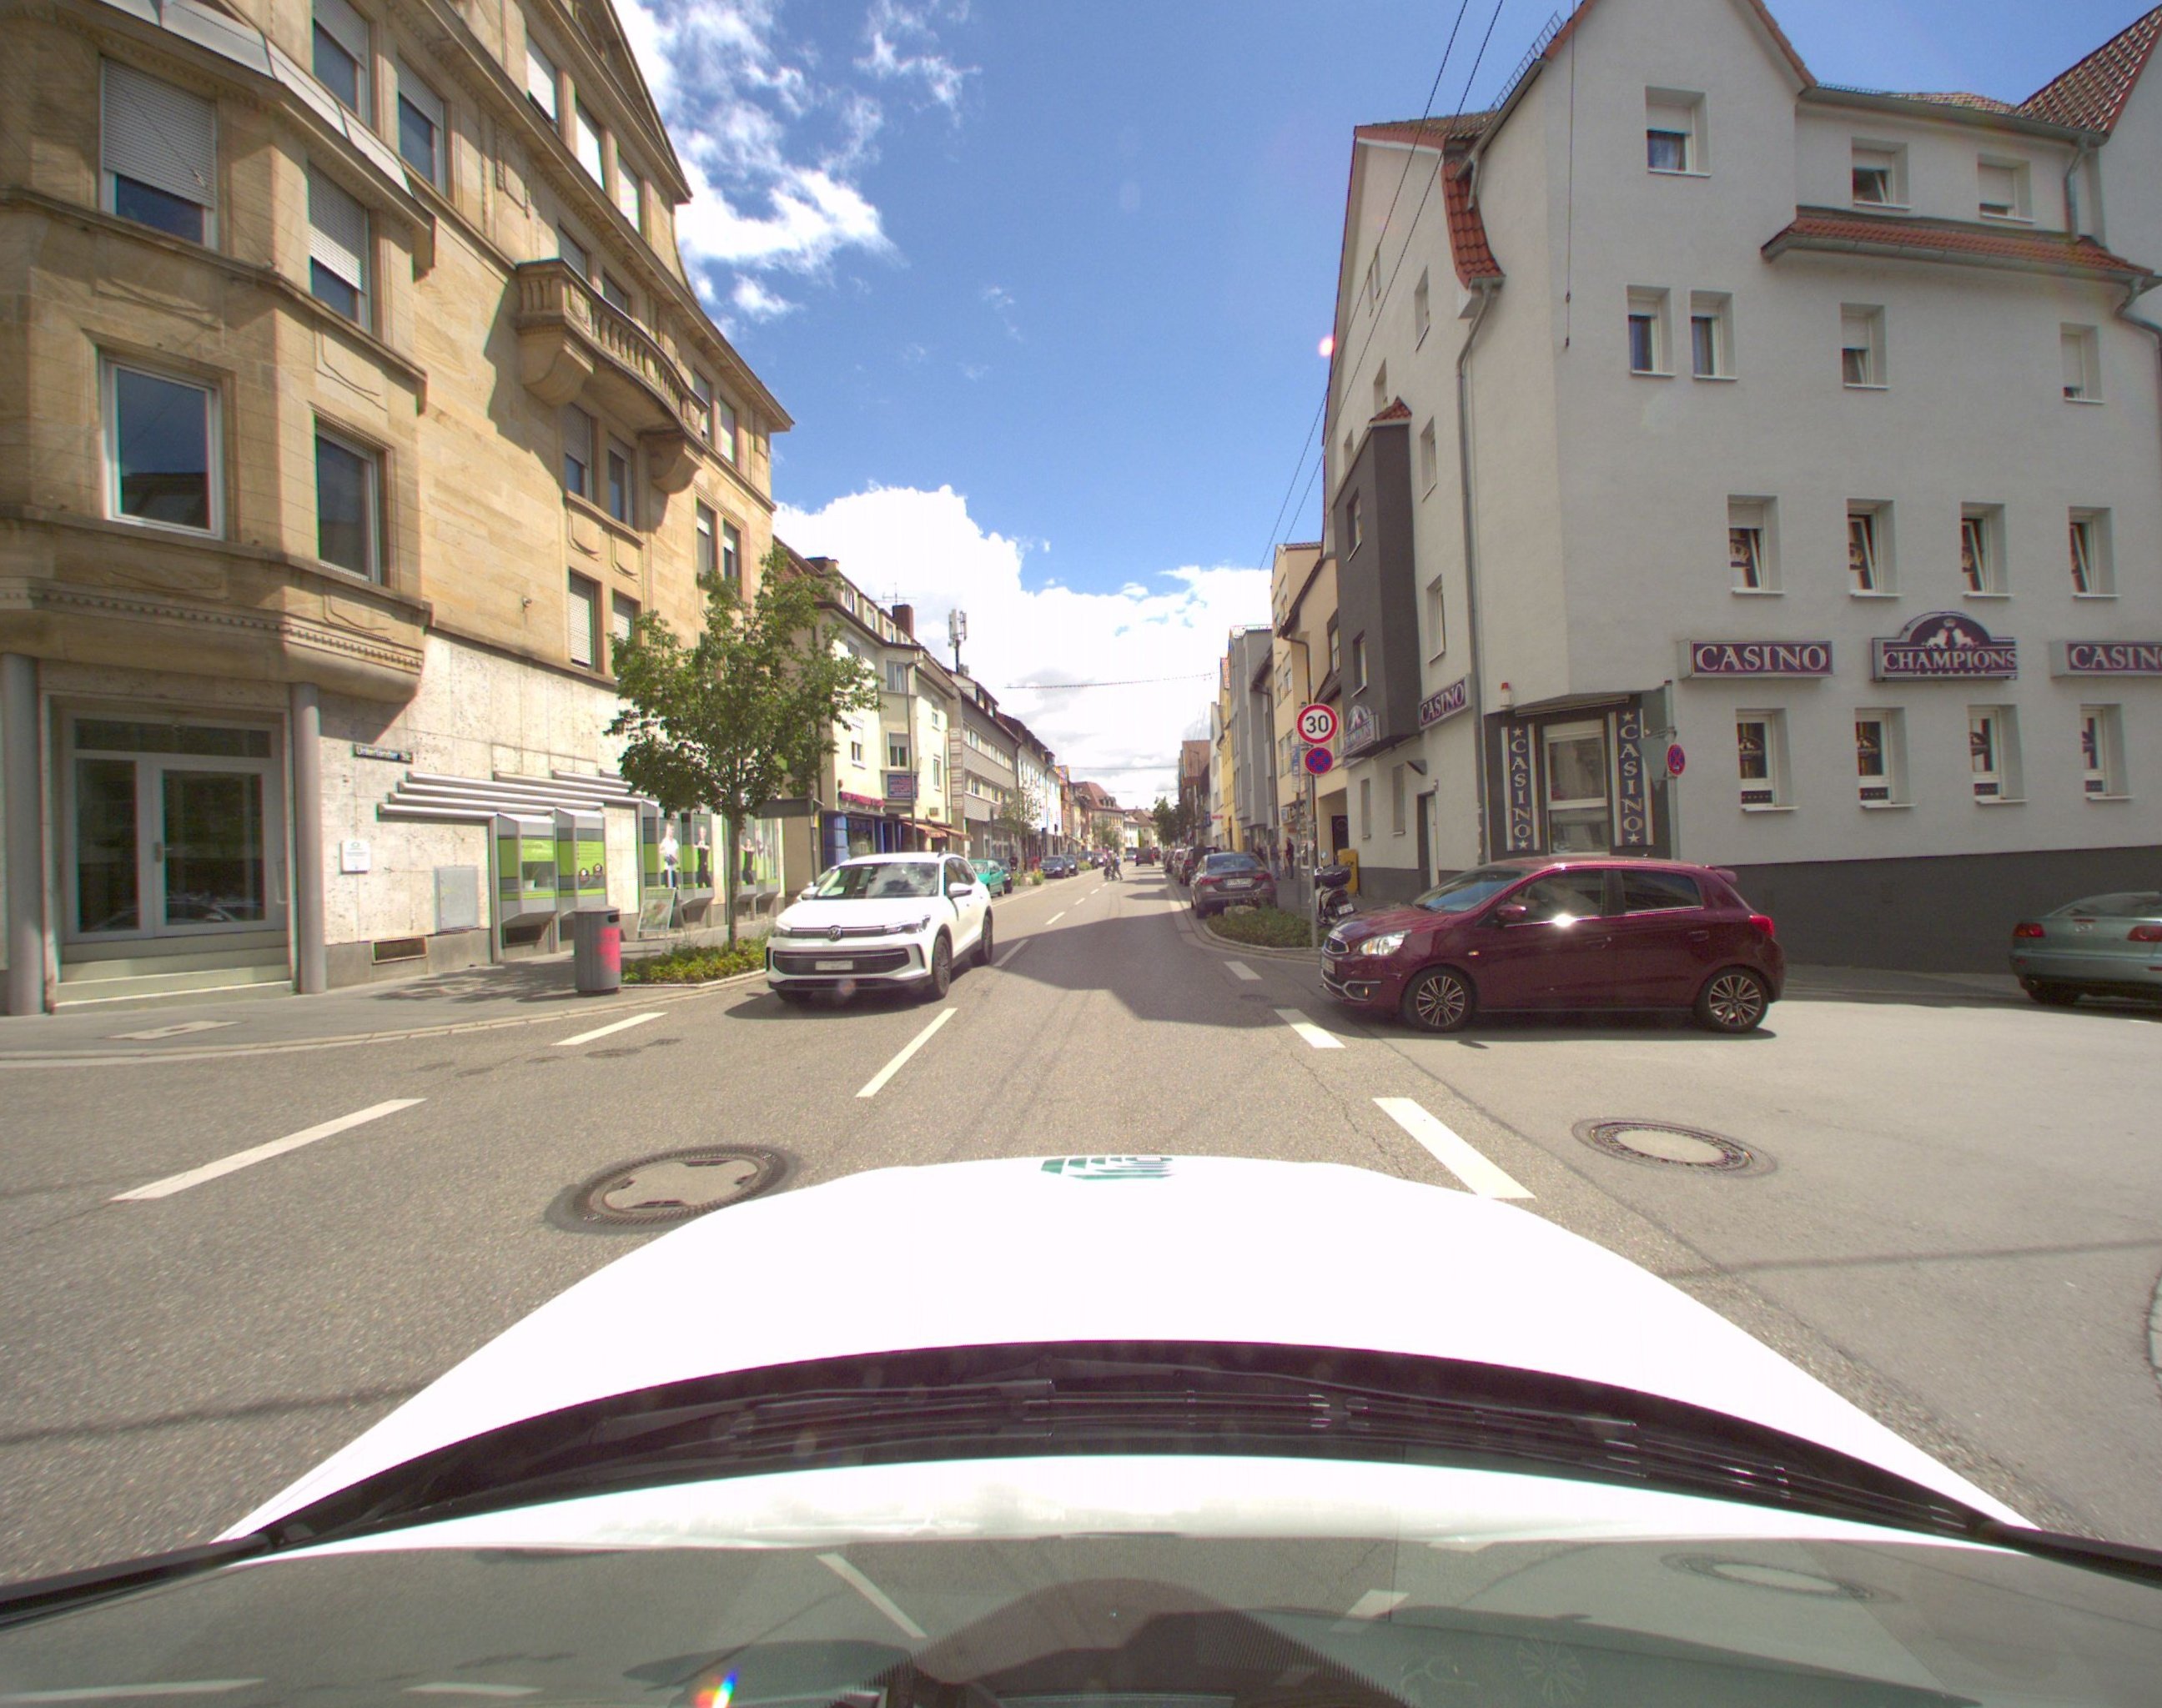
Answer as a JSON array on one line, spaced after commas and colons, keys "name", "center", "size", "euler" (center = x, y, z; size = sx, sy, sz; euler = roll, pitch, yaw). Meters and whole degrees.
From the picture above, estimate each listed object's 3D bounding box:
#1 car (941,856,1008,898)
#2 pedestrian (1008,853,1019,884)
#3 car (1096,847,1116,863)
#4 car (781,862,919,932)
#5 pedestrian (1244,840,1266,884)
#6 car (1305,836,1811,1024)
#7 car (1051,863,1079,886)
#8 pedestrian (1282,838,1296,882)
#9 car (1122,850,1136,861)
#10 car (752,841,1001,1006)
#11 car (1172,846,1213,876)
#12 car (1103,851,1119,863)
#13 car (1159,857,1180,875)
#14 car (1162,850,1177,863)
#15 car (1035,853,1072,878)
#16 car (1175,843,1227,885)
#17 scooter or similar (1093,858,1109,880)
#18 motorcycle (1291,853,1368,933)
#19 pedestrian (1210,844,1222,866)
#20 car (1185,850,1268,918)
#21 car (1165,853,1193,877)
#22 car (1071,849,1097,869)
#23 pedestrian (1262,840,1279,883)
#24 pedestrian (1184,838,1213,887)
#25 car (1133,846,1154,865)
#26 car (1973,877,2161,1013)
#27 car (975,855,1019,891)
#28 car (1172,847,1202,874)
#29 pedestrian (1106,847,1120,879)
[{"name": "car", "center": [-3.829, 0.807, 29.718], "size": [1.578, 1.414, 3.675], "euler": [0, -1, 6]}, {"name": "pedestrian", "center": [-3.852, 0.839, 46.493], "size": [0.546, 1.757, 0.729], "euler": [0, -1, 2]}, {"name": "car", "center": [2.707, 0.123, 88.542], "size": [1.806, 1.755, 4.472], "euler": [0, -1, 7]}, {"name": "car", "center": [-5.083, 0.896, 18.520], "size": [1.838, 1.398, 4.039], "euler": [0, -1, 2]}, {"name": "pedestrian", "center": [6.934, 0.314, 32.457], "size": [0.740, 1.718, 0.656], "euler": [-2, -1, 3]}, {"name": "car", "center": [4.119, 0.640, 7.504], "size": [3.730, 1.530, 1.539], "euler": [0, -1, 3]}, {"name": "car", "center": [-1.126, 1.440, 58.855], "size": [1.783, 1.503, 4.180], "euler": [0, 0, 2]}, {"name": "pedestrian", "center": [8.268, 0.233, 32.350], "size": [0.434, 1.718, 0.537], "euler": [0, -1, 2]}, {"name": "car", "center": [7.103, 0.229, 120.744], "size": [1.896, 1.563, 4.652], "euler": [0, -1, 6]}, {"name": "car", "center": [-2.268, 0.716, 10.221], "size": [1.779, 1.640, 4.121], "euler": [0, -1, 5]}, {"name": "car", "center": [6.001, 0.386, 44.065], "size": [1.683, 1.440, 4.297], "euler": [-4, -1, 2]}, {"name": "car", "center": [4.037, 0.372, 108.980], "size": [1.790, 1.598, 4.396], "euler": [-1, 0, 5]}, {"name": "car", "center": [8.120, 1.086, 75.116], "size": [1.713, 1.577, 4.113], "euler": [0, -1, 4]}, {"name": "car", "center": [10.369, 0.338, 94.974], "size": [1.712, 1.494, 4.116], "euler": [0, -1, 6]}, {"name": "car", "center": [-1.744, 0.699, 52.775], "size": [1.781, 1.513, 4.719], "euler": [-1, 0, 5]}, {"name": "car", "center": [5.078, 0.398, 34.816], "size": [1.791, 1.603, 4.208], "euler": [-4, 0, 4]}, {"name": "scooter or similar", "center": [1.035, 0.773, 42.370], "size": [0.779, 1.126, 0.630], "euler": [0, -1, 0]}, {"name": "motorcycle", "center": [4.234, 0.624, 14.062], "size": [0.656, 1.259, 2.376], "euler": [0, -1, 1]}, {"name": "pedestrian", "center": [9.503, 0.084, 57.252], "size": [0.746, 1.553, 0.727], "euler": [-2, -1, 4]}, {"name": "car", "center": [3.343, 0.663, 19.243], "size": [1.697, 1.420, 4.327], "euler": [0, -1, 8]}, {"name": "car", "center": [6.556, 0.698, 54.650], "size": [1.681, 1.472, 4.530], "euler": [0, 1, 4]}, {"name": "car", "center": [0.336, 0.458, 75.562], "size": [1.806, 1.755, 4.679], "euler": [0, -1, 8]}, {"name": "pedestrian", "center": [7.623, 0.292, 32.766], "size": [0.533, 1.718, 0.607], "euler": [0, -1, 3]}, {"name": "pedestrian", "center": [4.671, 0.333, 32.341], "size": [0.971, 1.863, 0.865], "euler": [-4, -1, 3]}, {"name": "car", "center": [6.453, 0.207, 84.009], "size": [2.032, 1.848, 5.004], "euler": [0, -1, 4]}, {"name": "car", "center": [13.214, 1.097, 9.531], "size": [3.875, 1.399, 1.845], "euler": [4, -1, -7]}, {"name": "car", "center": [-3.490, 0.769, 34.451], "size": [1.593, 1.446, 3.554], "euler": [0, -1, -2]}, {"name": "car", "center": [6.486, 0.397, 50.315], "size": [1.681, 1.574, 3.761], "euler": [0, -1, 5]}, {"name": "pedestrian", "center": [1.655, 0.460, 42.378], "size": [0.729, 1.618, 0.651], "euler": [0, -1, 0]}]
